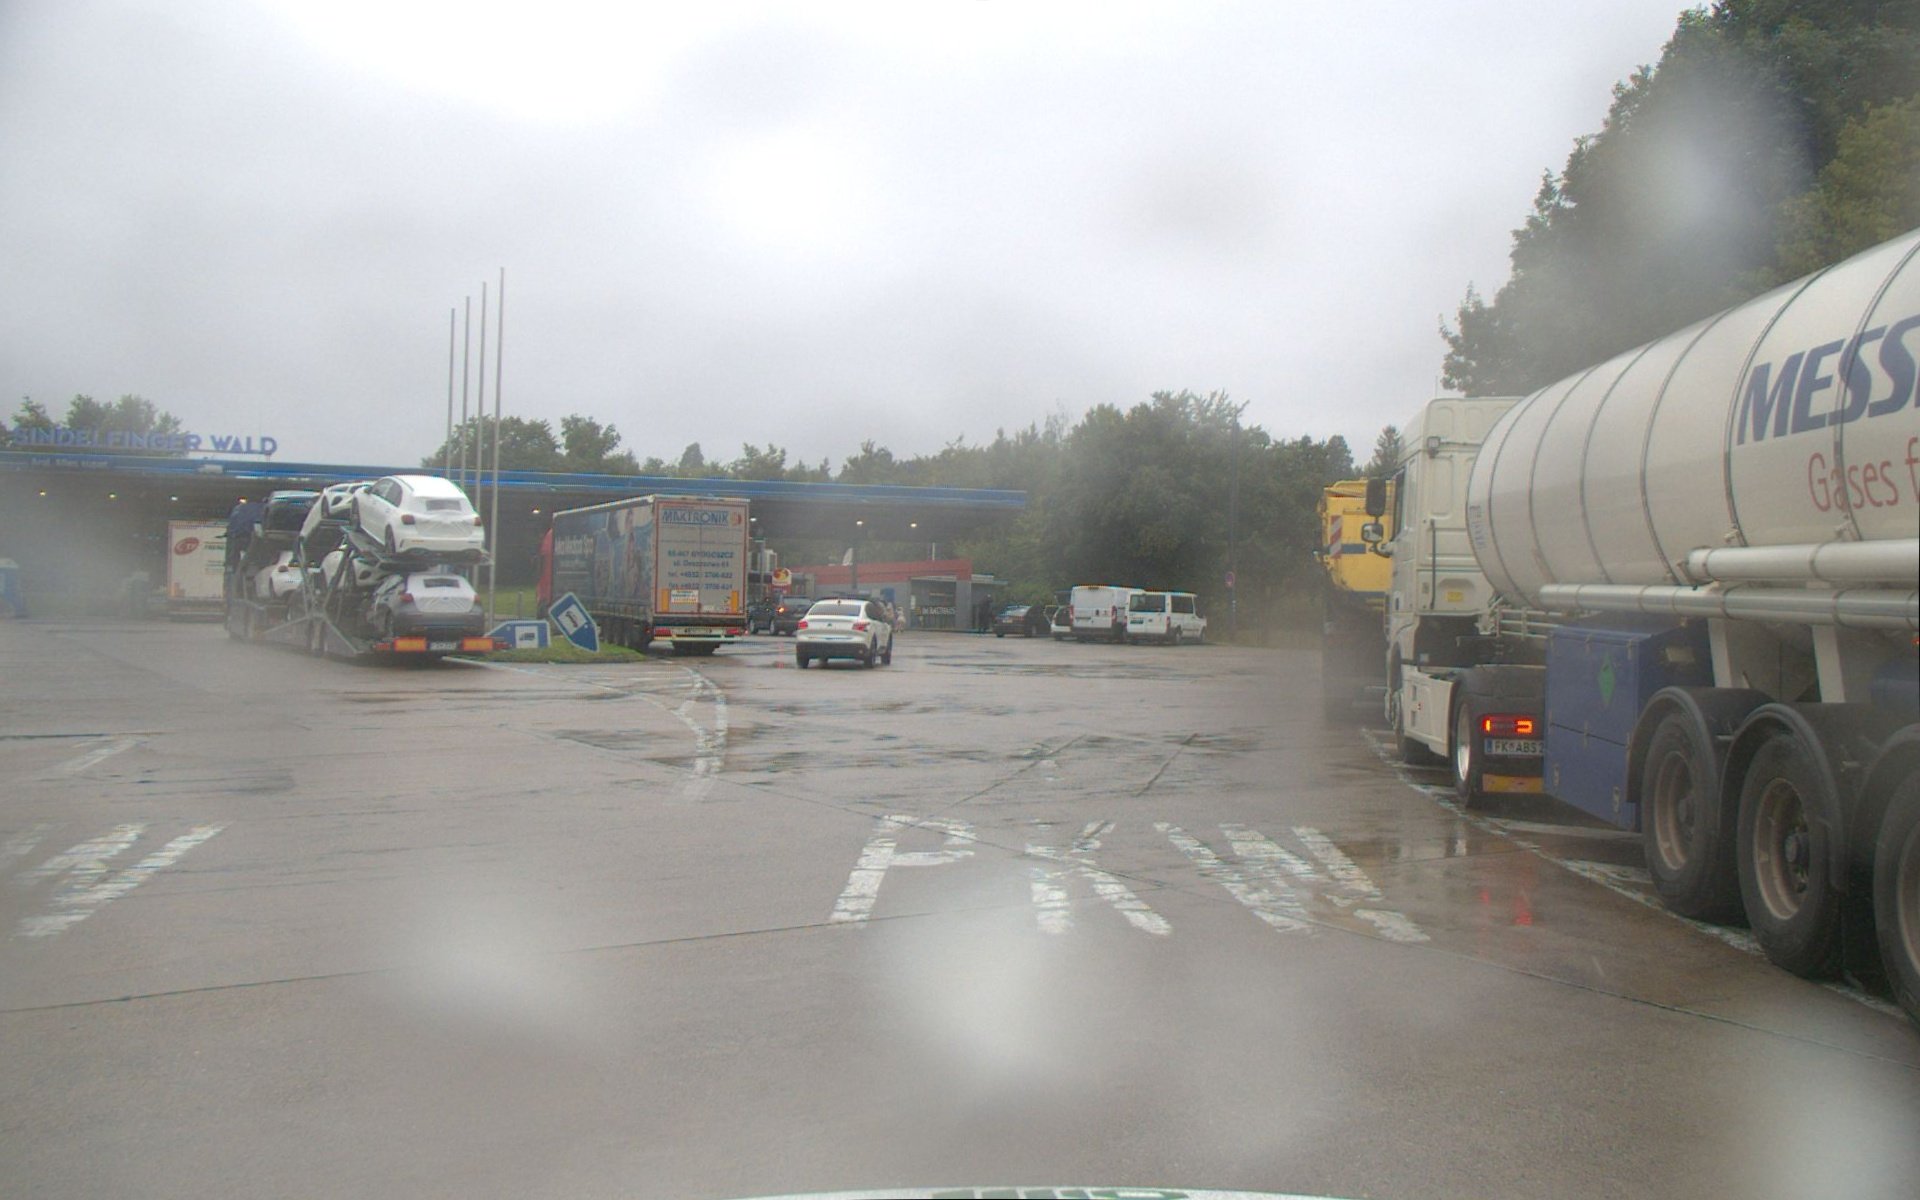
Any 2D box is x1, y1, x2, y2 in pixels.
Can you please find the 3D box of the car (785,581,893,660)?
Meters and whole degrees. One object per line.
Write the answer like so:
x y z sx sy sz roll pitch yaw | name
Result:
-2.719 0.464 38.058 1.952 1.709 4.001 1 -1 3 | car

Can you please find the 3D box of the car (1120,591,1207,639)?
7.891 0.561 63.941 2.072 1.758 3.995 1 0 27 | car

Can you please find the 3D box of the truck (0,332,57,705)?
-14.030 -0.951 22.243 2.349 3.942 12.312 1 0 -33 | truck

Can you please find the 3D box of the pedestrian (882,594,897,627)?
-3.381 0.511 79.194 0.598 1.566 0.592 2 -2 -15 | pedestrian

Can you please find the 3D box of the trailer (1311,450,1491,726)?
6.425 -0.157 24.557 2.136 3.451 7.570 1 0 13 | trailer

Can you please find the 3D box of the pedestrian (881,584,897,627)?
-3.482 0.268 81.600 0.655 2.049 0.742 3 -3 0 | pedestrian

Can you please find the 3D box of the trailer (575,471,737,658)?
-8.693 -0.874 46.249 1.968 4.639 9.731 2 -1 -25 | trailer

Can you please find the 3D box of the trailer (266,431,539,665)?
-12.500 -1.023 36.106 3.183 4.262 11.408 2 0 -31 | trailer

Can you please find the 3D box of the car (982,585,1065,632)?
2.862 0.373 73.406 2.072 1.970 4.187 1 0 27 | car

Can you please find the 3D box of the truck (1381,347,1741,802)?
5.346 -0.215 15.430 2.100 3.574 4.649 1 0 7 | truck

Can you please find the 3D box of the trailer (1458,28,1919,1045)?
4.696 -0.207 8.761 2.086 3.501 10.260 1 0 6 | trailer

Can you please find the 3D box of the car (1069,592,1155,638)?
6.094 0.598 65.932 2.072 1.758 3.995 1 0 27 | car

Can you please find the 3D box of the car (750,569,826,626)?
-7.095 -0.062 67.865 1.967 2.049 3.971 4 -3 -23 | car

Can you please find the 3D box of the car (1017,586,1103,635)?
4.248 0.448 69.500 2.072 1.970 4.187 1 0 27 | car

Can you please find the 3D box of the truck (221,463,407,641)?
-17.569 -1.219 44.605 3.201 4.262 8.355 2 0 -31 | truck

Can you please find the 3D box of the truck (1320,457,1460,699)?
7.463 -0.366 28.914 2.134 3.895 4.145 1 0 13 | truck

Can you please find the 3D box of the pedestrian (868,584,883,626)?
-4.242 0.260 82.825 0.575 2.049 0.636 3 -3 -9 | pedestrian

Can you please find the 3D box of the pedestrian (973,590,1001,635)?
1.204 0.568 73.820 0.934 1.953 1.089 1 0 19 | pedestrian
